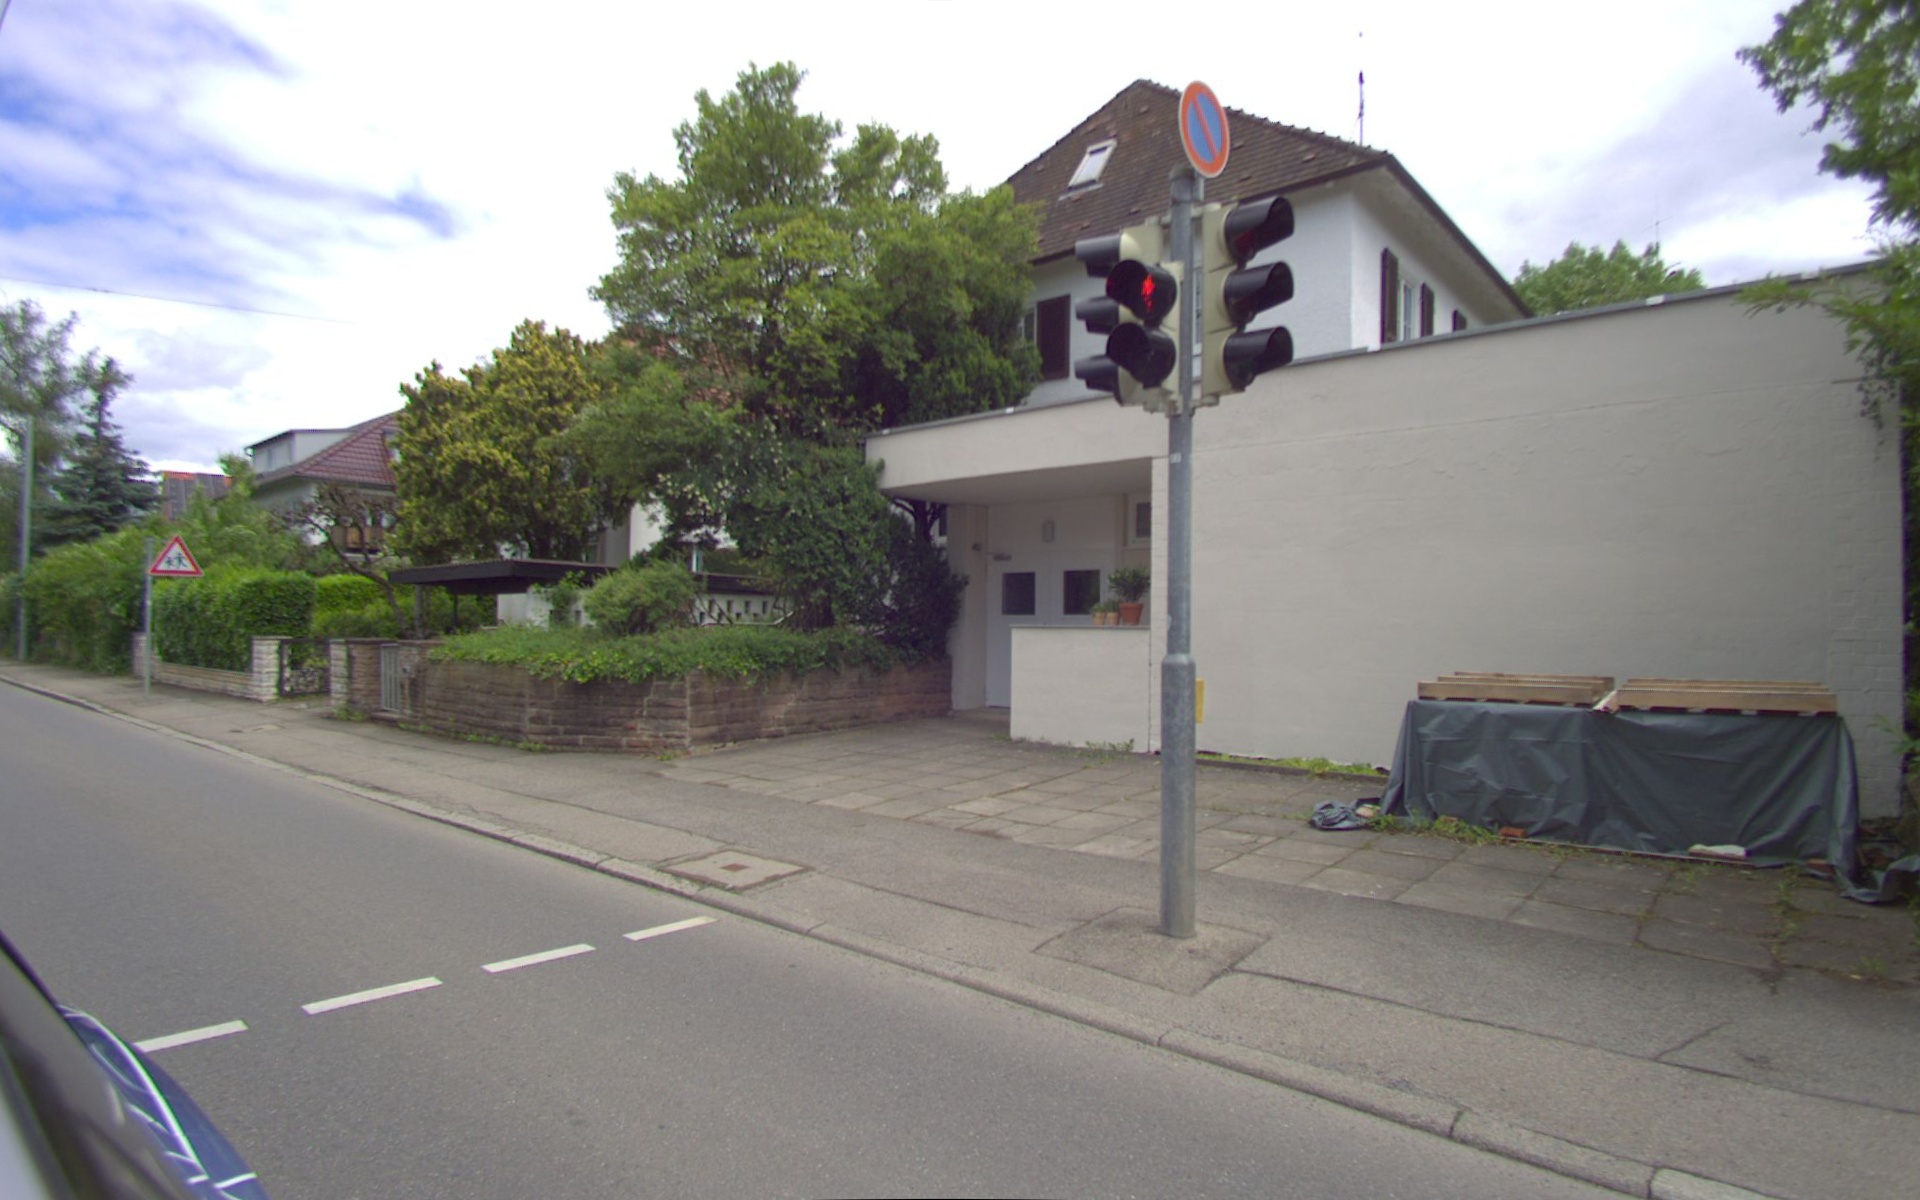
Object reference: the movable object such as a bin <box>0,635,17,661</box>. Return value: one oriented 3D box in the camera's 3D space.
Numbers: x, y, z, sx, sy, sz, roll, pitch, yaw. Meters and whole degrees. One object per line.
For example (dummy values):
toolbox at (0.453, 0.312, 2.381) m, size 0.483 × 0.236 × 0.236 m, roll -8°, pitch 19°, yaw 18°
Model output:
movable object such as a bin at (-43.723, 2.202, 46.315) m, size 0.722 × 1.134 × 0.721 m, roll -1°, pitch 1°, yaw 38°

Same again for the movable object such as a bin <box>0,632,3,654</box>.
movable object such as a bin at (-44.355, 1.986, 46.554) m, size 0.511 × 0.958 × 0.375 m, roll -1°, pitch 1°, yaw 38°
